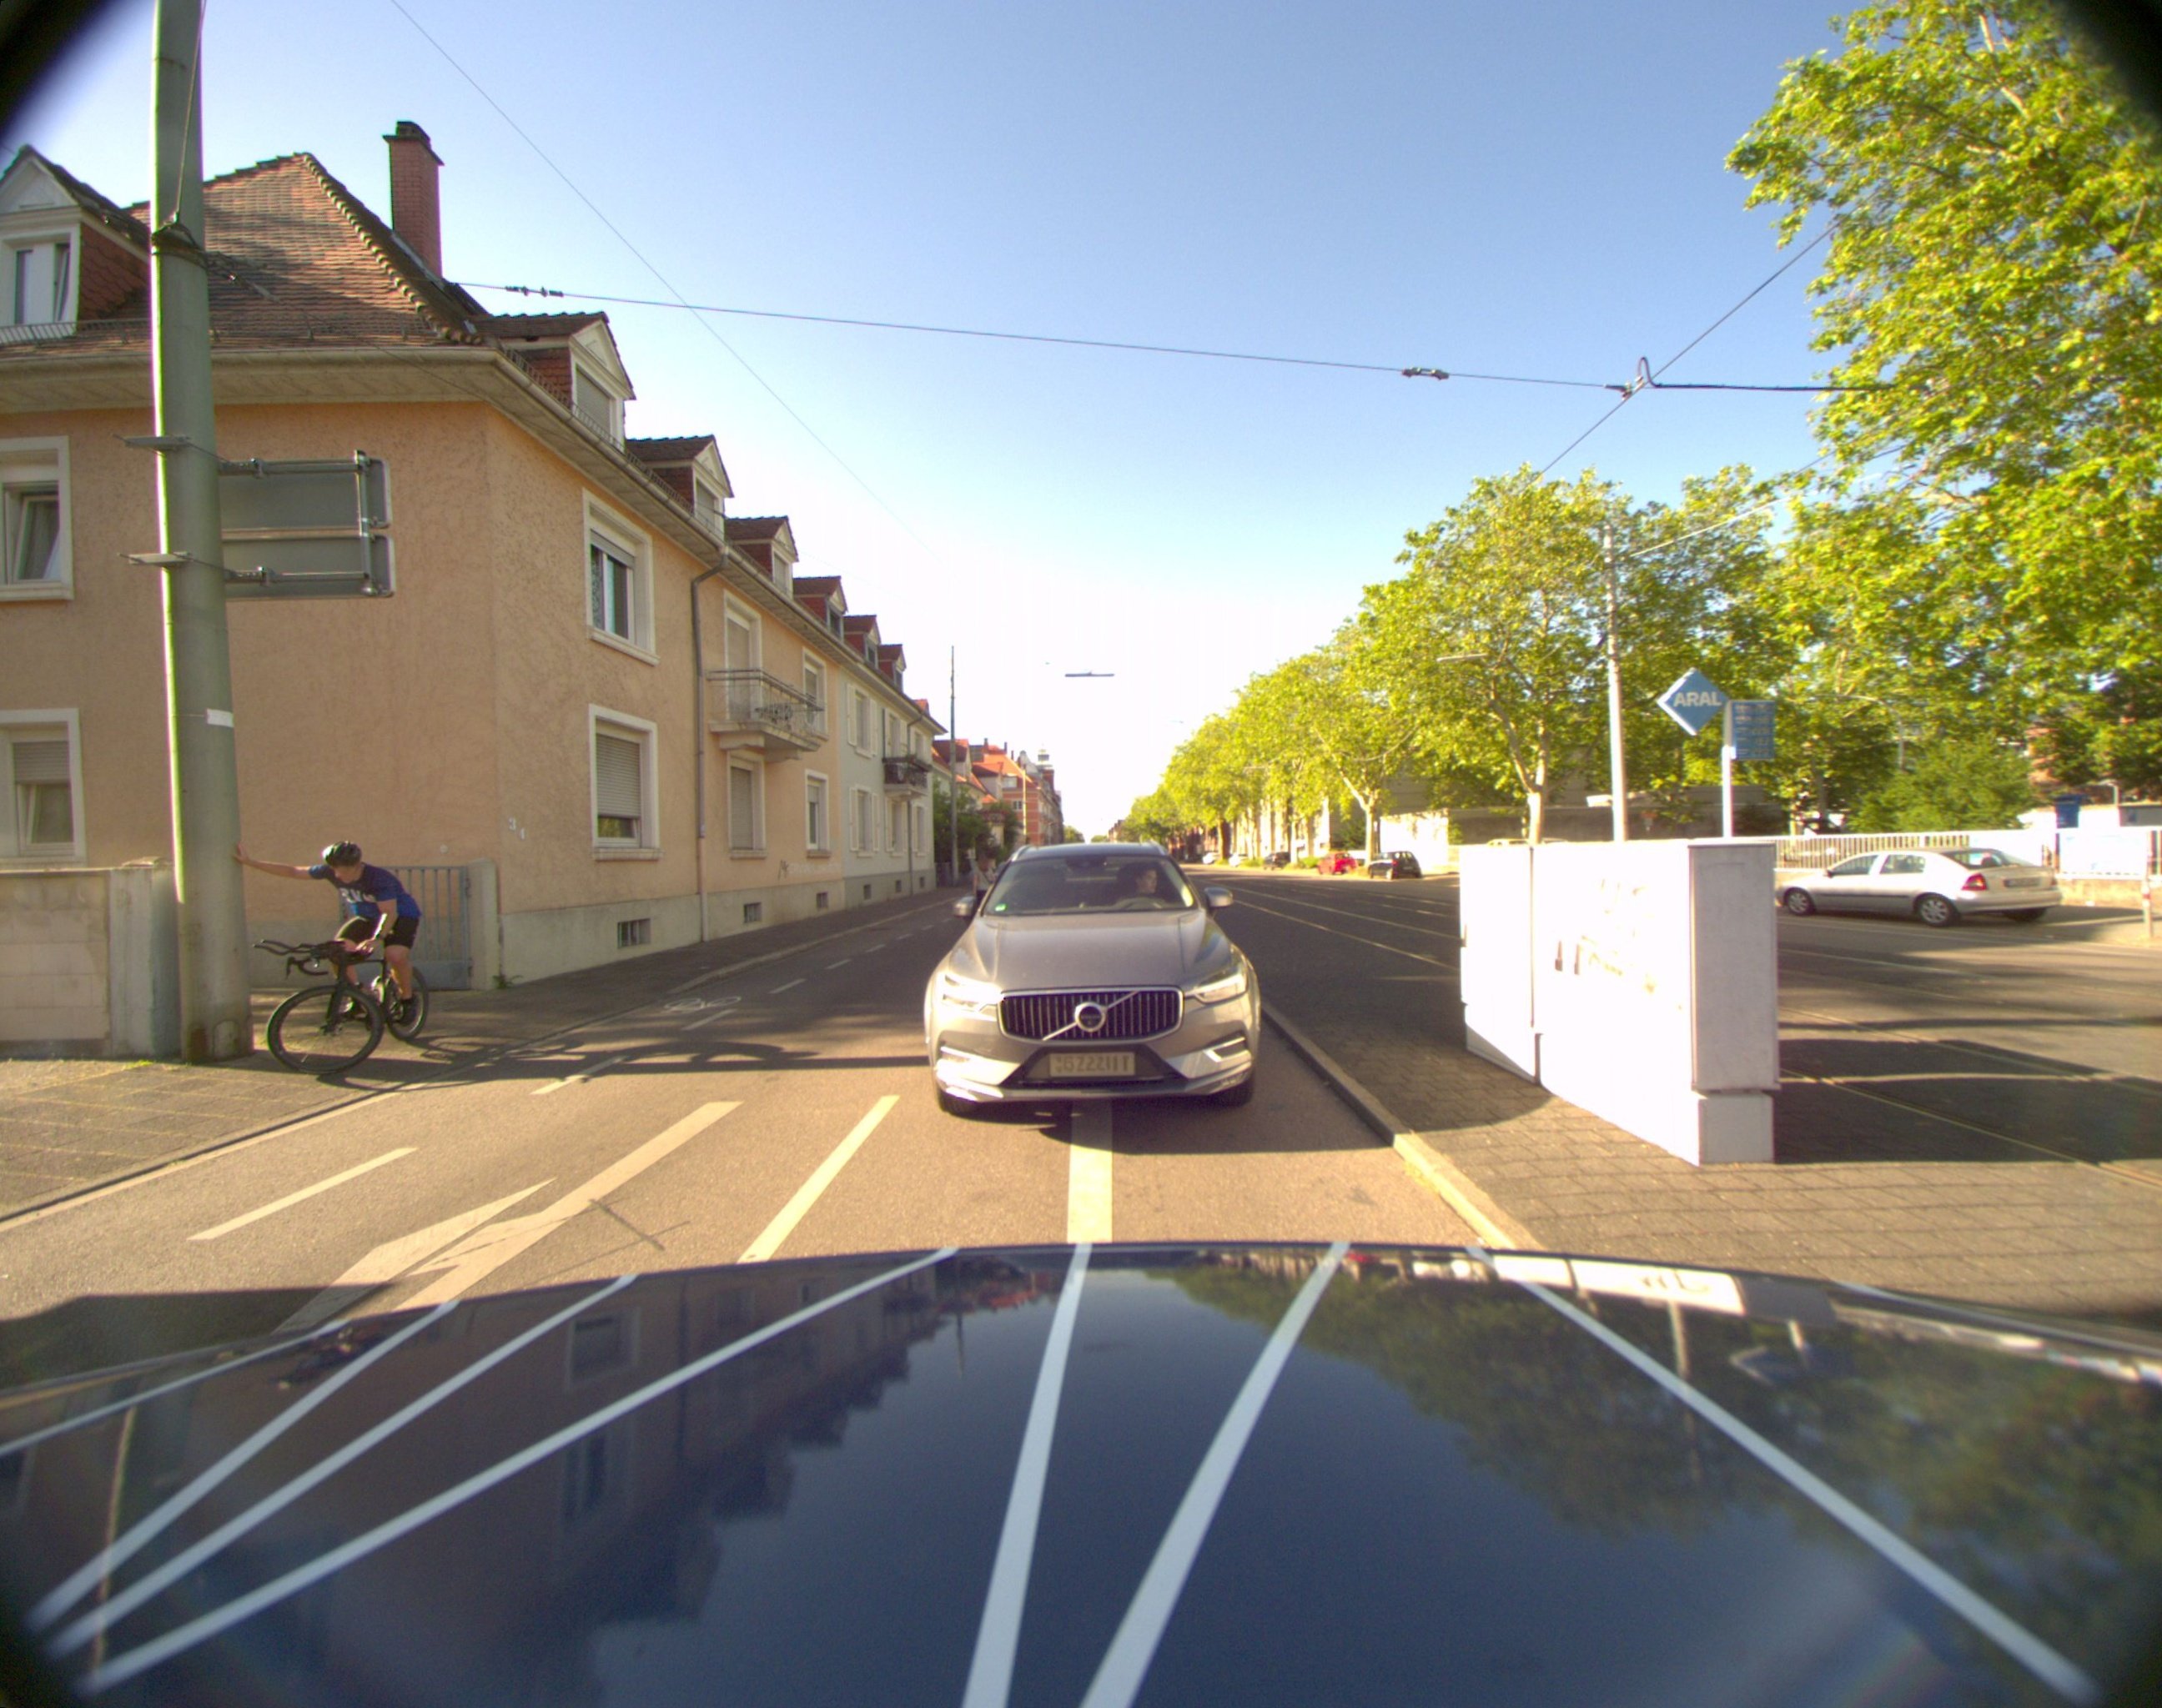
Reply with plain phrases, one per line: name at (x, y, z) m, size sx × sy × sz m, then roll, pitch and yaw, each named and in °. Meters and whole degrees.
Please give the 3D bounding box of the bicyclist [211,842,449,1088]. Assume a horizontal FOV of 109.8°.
bicyclist at (-6.151, 0.858, 6.286) m, size 1.076 × 1.854 × 0.846 m, roll 2°, pitch 1°, yaw 1°

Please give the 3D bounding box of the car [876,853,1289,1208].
car at (0.038, 0.847, 5.797) m, size 1.940 × 1.650 × 4.321 m, roll -1°, pitch 0°, yaw 1°

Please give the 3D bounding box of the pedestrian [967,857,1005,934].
pedestrian at (-2.165, 0.910, 17.241) m, size 0.695 × 1.652 × 1.097 m, roll -2°, pitch 1°, yaw -13°

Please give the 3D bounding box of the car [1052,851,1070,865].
car at (-2.212, 0.443, 85.487) m, size 1.875 × 1.477 × 4.000 m, roll -1°, pitch 0°, yaw 1°

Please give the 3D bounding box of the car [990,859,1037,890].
car at (-3.216, 0.959, 37.021) m, size 1.647 × 1.357 × 3.868 m, roll -1°, pitch 0°, yaw 4°

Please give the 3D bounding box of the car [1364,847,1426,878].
car at (16.877, 0.419, 40.977) m, size 1.826 × 1.521 × 3.653 m, roll -2°, pitch 0°, yaw 1°

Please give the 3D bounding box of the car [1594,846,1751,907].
car at (16.427, 0.573, 21.336) m, size 1.692 × 1.455 × 3.519 m, roll -4°, pitch 0°, yaw 2°

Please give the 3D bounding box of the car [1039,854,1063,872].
car at (-2.568, 0.761, 66.825) m, size 1.875 × 1.477 × 4.000 m, roll -1°, pitch 0°, yaw 1°

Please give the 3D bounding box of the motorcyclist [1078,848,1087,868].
motorcyclist at (0.141, 0.357, 72.422) m, size 0.827 × 1.832 × 1.159 m, roll -2°, pitch 1°, yaw 1°

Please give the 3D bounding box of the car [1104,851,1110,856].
car at (8.516, -0.257, 249.803) m, size 1.998 × 1.652 × 4.000 m, roll -1°, pitch 0°, yaw 1°

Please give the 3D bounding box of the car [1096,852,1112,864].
car at (3.133, 0.500, 104.655) m, size 1.998 × 1.543 × 4.000 m, roll -1°, pitch 0°, yaw 1°

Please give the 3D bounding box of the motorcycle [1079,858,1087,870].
motorcycle at (0.190, 0.900, 72.342) m, size 0.792 × 1.095 × 2.519 m, roll 0°, pitch 0°, yaw 1°

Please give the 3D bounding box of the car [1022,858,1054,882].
car at (-2.689, 0.986, 48.299) m, size 1.785 × 1.346 × 4.000 m, roll -1°, pitch 0°, yaw 1°

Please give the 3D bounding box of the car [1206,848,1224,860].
car at (17.725, -0.016, 100.668) m, size 1.802 × 1.504 × 4.000 m, roll -1°, pitch 0°, yaw 1°

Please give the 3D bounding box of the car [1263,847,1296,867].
car at (17.188, 0.282, 66.038) m, size 1.802 × 1.652 × 4.000 m, roll -1°, pitch 0°, yaw 1°

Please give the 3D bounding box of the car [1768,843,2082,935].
car at (16.241, 0.595, 14.988) m, size 1.795 × 1.455 × 3.966 m, roll -4°, pitch 0°, yaw 2°

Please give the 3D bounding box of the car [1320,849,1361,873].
car at (16.937, 0.431, 49.746) m, size 1.641 × 1.499 × 3.046 m, roll -1°, pitch 0°, yaw 1°

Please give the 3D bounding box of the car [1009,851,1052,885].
car at (-2.794, 0.711, 42.881) m, size 1.751 × 1.767 × 5.351 m, roll -1°, pitch 0°, yaw 3°

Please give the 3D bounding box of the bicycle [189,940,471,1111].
bicycle at (-5.946, 1.298, 6.171) m, size 0.572 × 0.986 × 1.698 m, roll 2°, pitch 0°, yaw 1°

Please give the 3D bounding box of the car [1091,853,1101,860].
car at (3.182, 0.513, 156.698) m, size 1.998 × 1.543 × 4.000 m, roll -1°, pitch 0°, yaw 1°

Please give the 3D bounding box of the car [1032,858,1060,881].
car at (-2.473, 1.079, 54.435) m, size 1.785 × 1.468 × 4.000 m, roll -1°, pitch 0°, yaw 1°

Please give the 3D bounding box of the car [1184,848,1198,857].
car at (18.186, -0.227, 125.625) m, size 1.802 × 1.504 × 4.000 m, roll -1°, pitch 0°, yaw 1°

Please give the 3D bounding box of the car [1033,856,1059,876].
car at (-2.758, 0.939, 60.671) m, size 1.785 × 1.468 × 4.000 m, roll -1°, pitch 0°, yaw 1°

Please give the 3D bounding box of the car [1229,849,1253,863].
car at (17.538, 0.216, 83.423) m, size 1.802 × 1.489 × 4.000 m, roll -1°, pitch 0°, yaw 1°
